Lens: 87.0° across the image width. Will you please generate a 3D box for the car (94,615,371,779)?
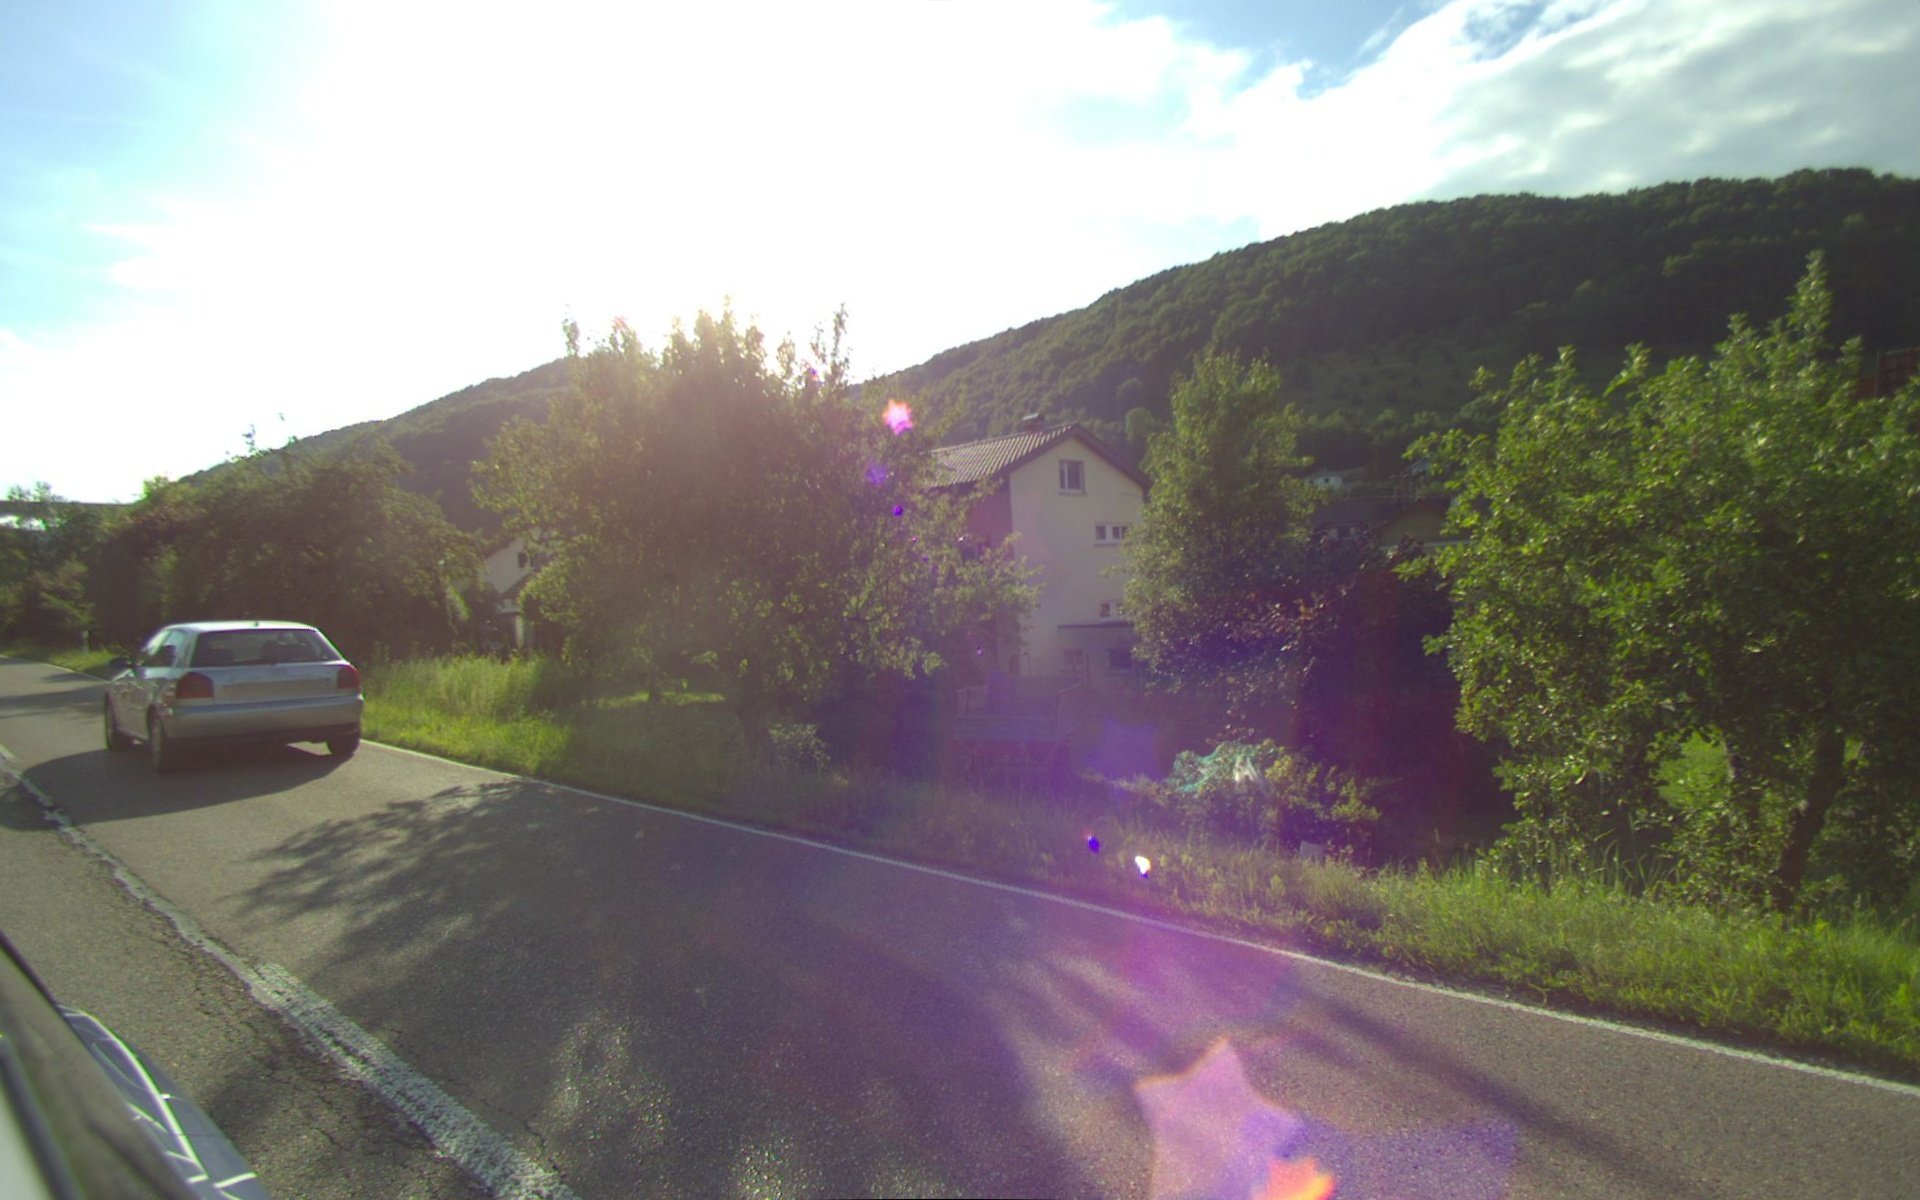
[{"bbox_3d":[-7.746,0.880,10.665,3.663,1.420,1.674,-1,-1,43],"label":"car"}]
